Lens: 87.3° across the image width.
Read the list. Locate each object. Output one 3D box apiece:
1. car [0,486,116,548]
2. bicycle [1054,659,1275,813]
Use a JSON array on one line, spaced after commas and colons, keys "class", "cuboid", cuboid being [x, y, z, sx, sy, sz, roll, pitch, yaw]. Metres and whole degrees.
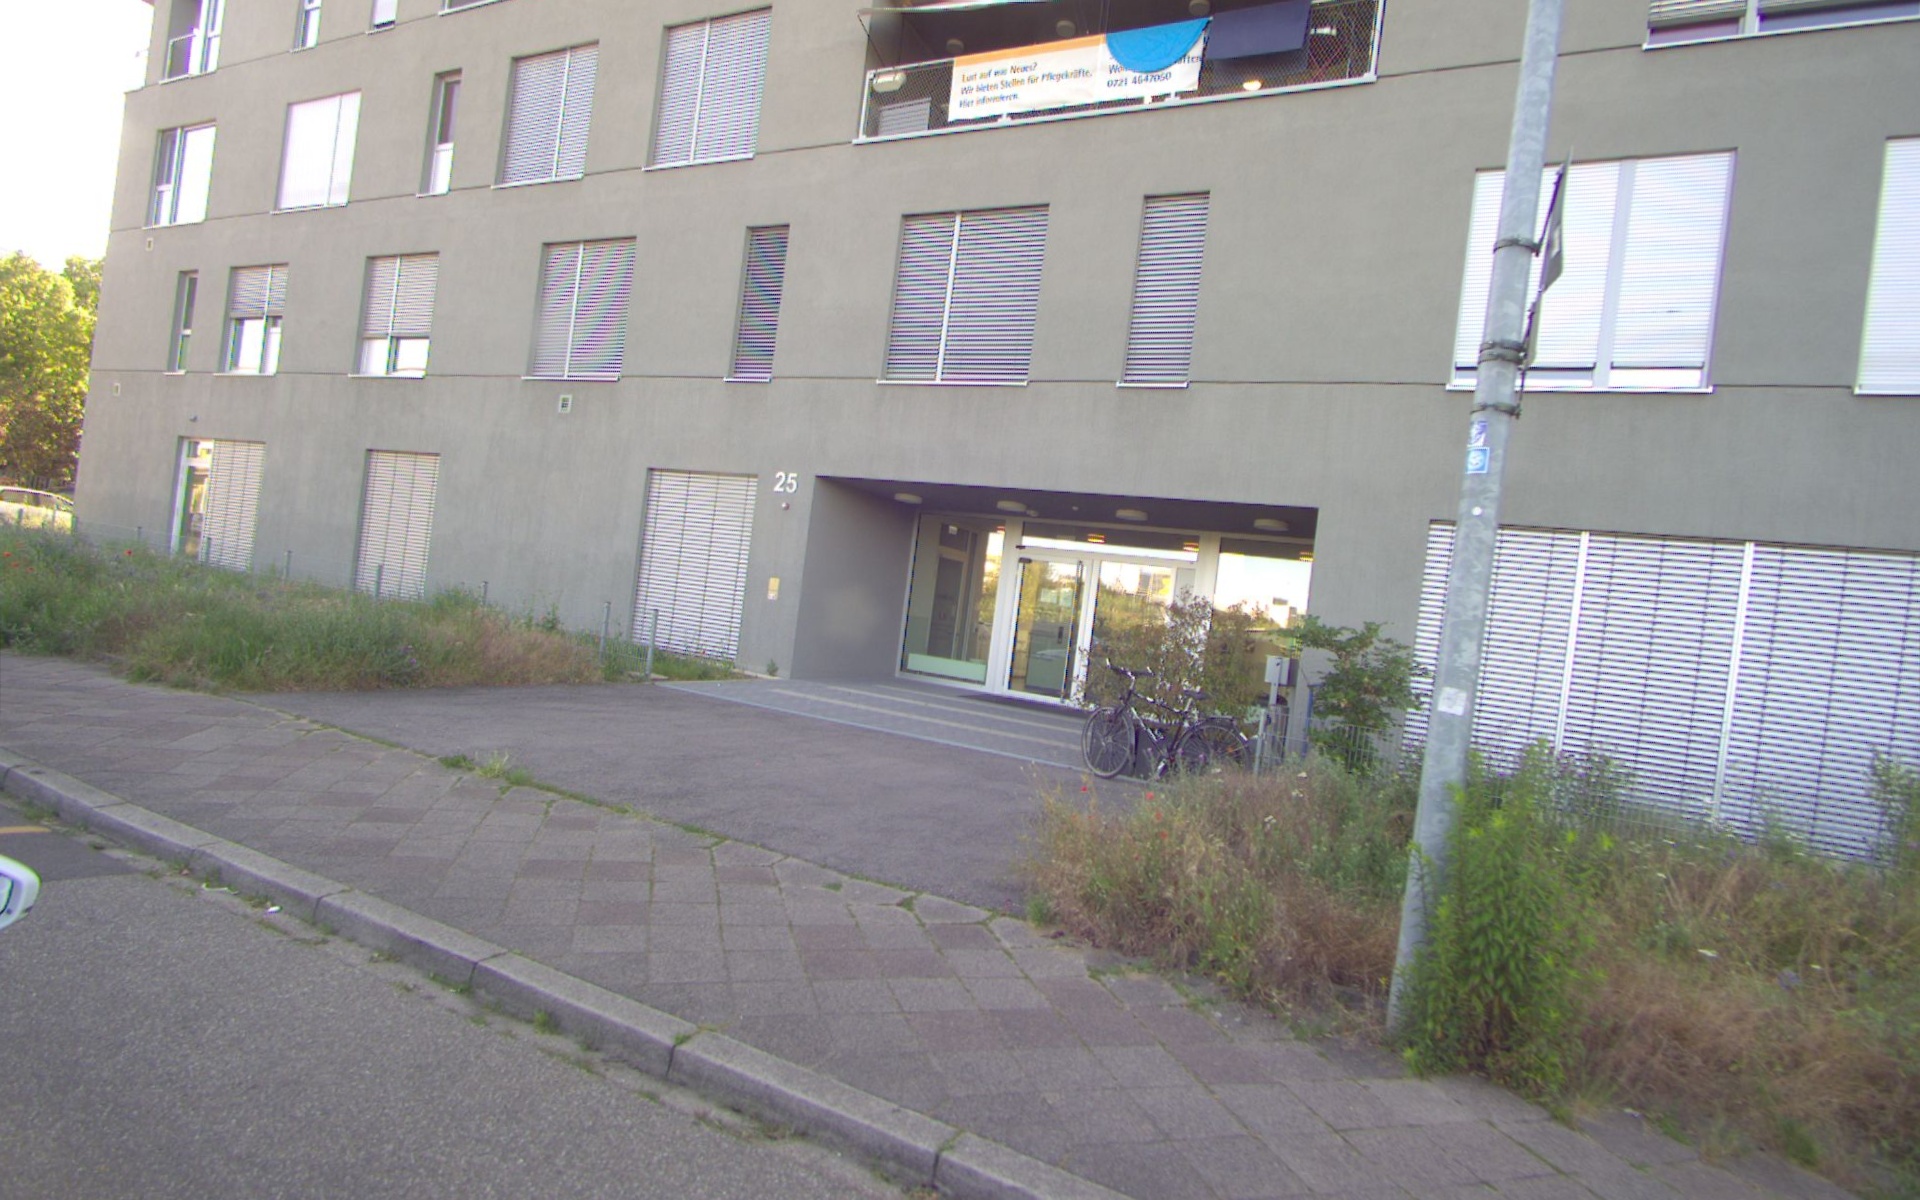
[{"class": "car", "cuboid": [-28.642, -2.638, 31.198, 1.686, 1.476, 3.331, 7, -1, 32]}, {"class": "bicycle", "cuboid": [1.860, 1.216, 9.297, 1.811, 1.074, 0.553, 7, -1, 32]}]
